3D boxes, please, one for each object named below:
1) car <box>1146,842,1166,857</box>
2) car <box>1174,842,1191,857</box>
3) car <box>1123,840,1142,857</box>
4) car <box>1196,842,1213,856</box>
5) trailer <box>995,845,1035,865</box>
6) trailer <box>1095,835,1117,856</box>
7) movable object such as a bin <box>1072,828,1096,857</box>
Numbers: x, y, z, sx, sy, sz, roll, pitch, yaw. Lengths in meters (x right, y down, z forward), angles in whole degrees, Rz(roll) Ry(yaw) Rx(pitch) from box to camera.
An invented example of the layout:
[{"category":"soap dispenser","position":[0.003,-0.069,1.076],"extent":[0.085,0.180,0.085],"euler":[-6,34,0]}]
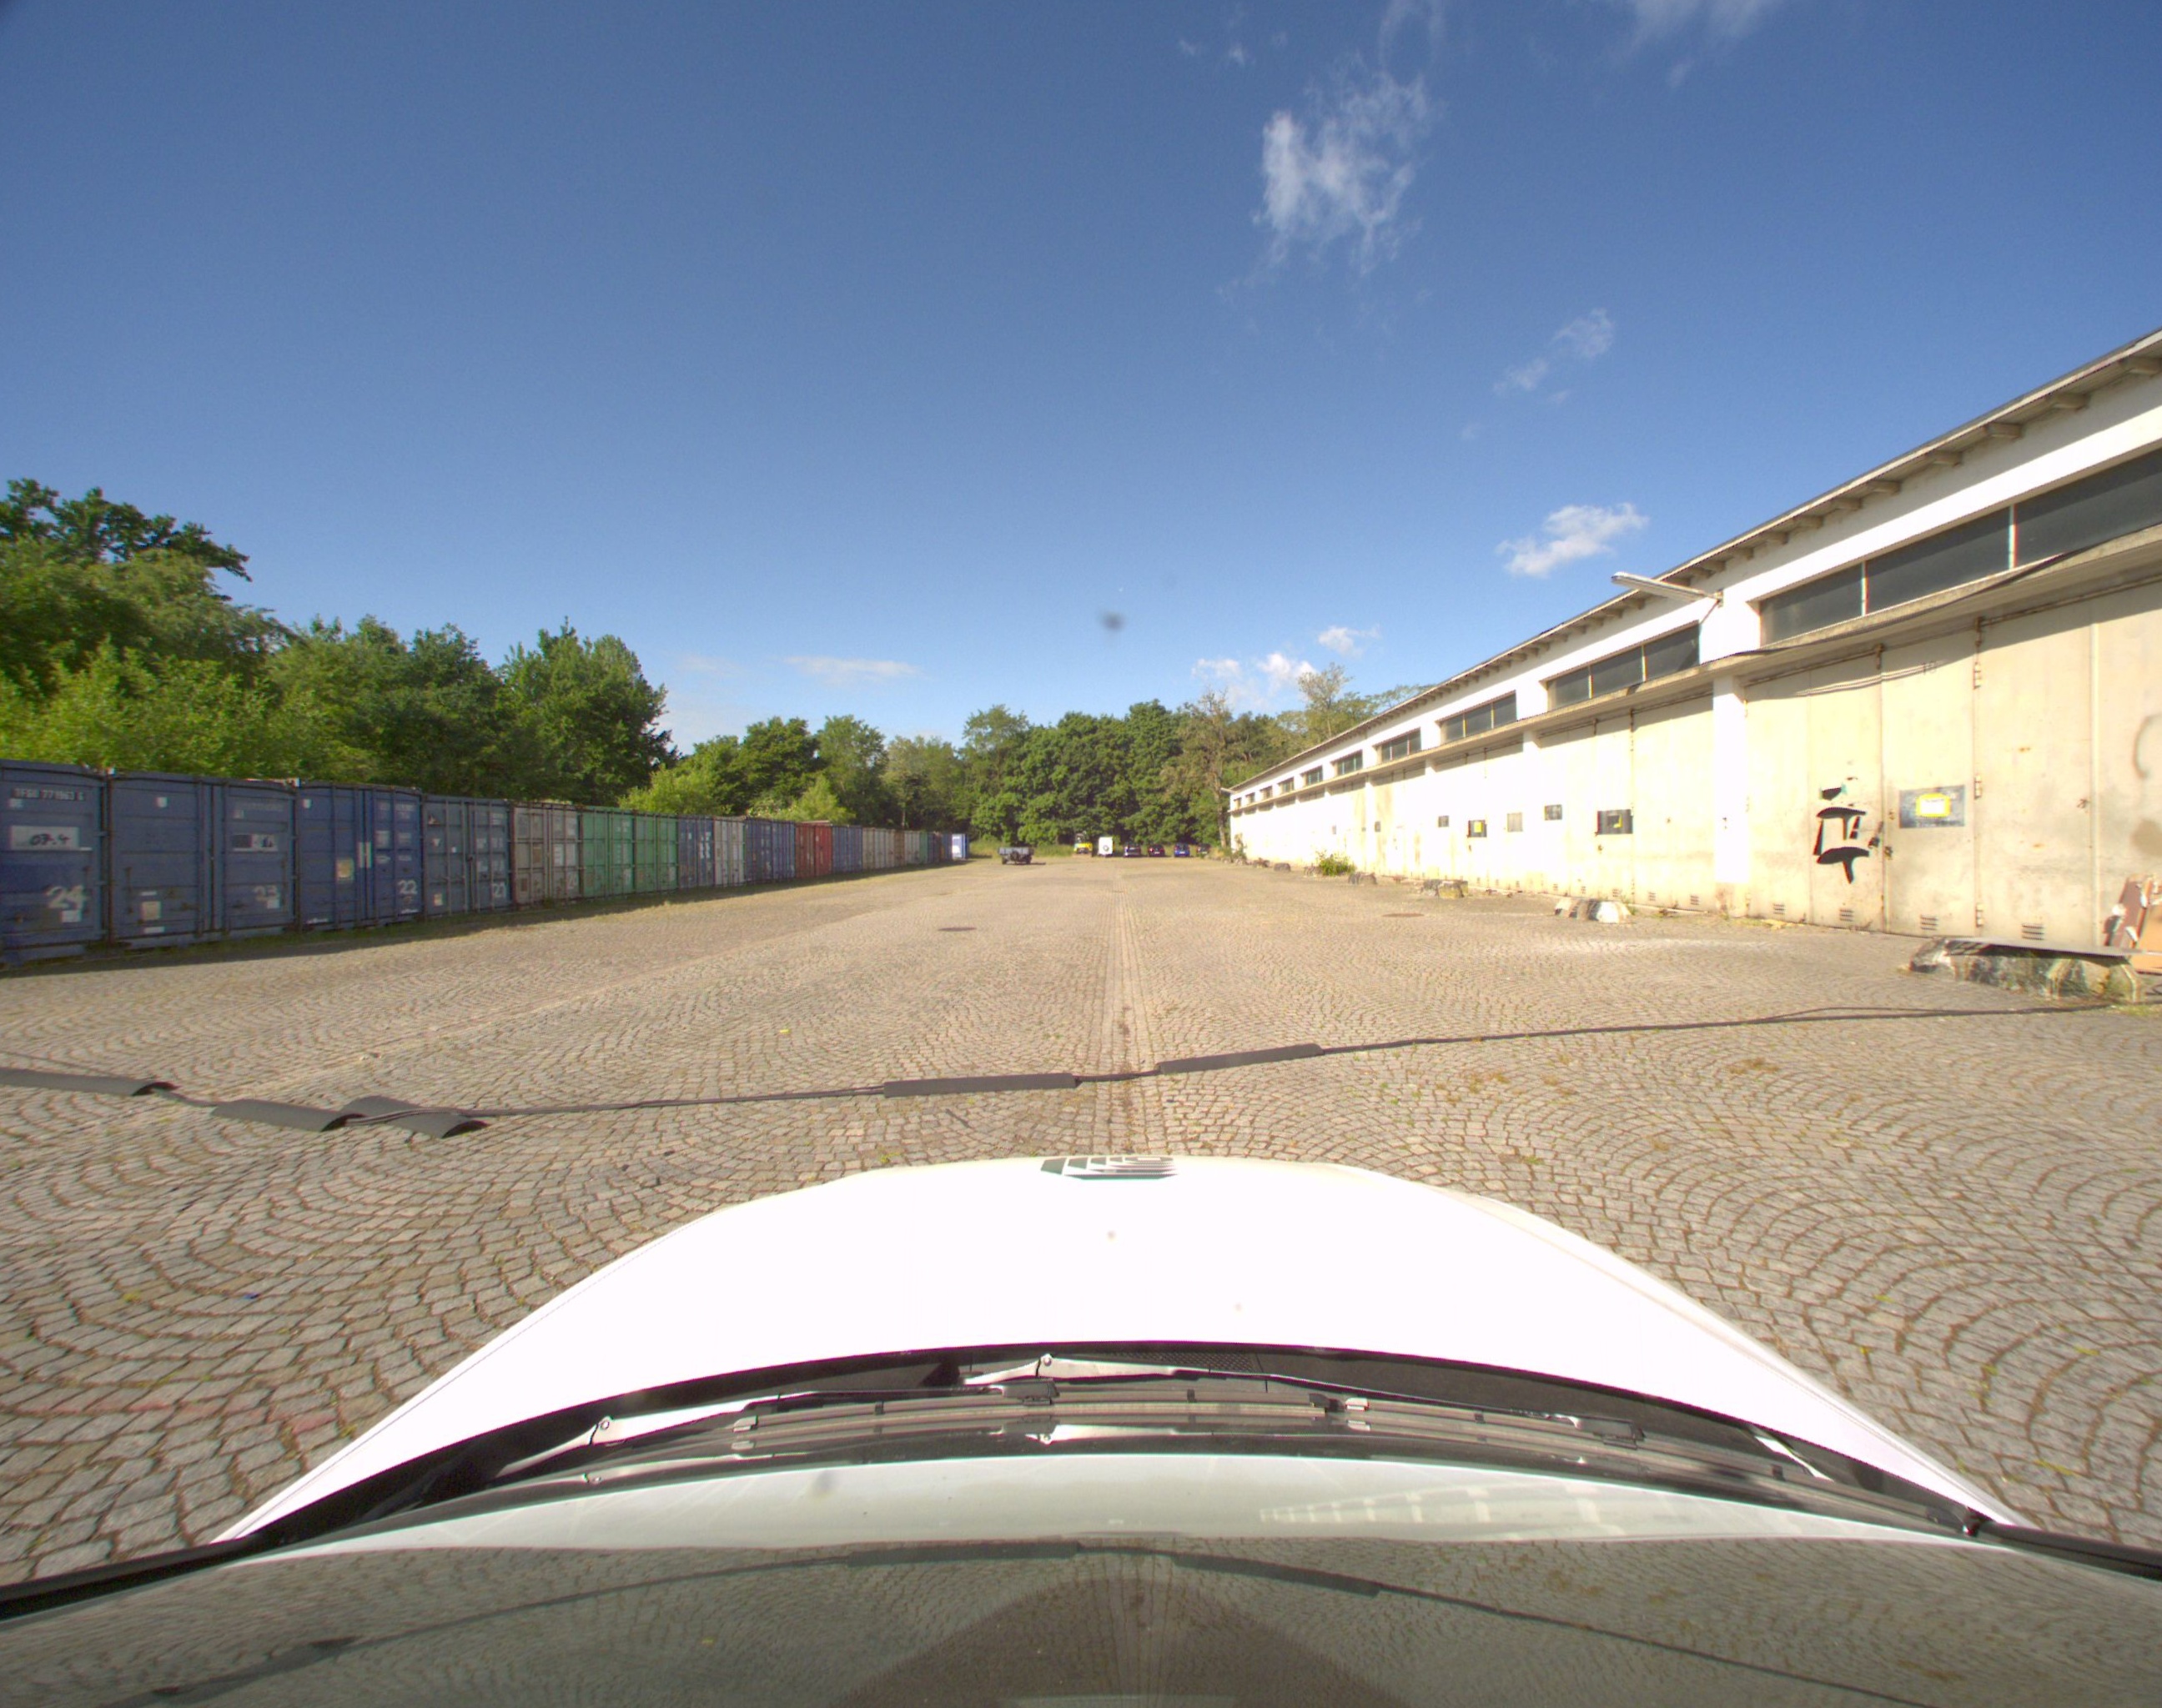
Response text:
[{"category":"car","position":[7.788,-0.514,84.668],"extent":[1.856,1.470,4.299],"euler":[1,2,2]},{"category":"car","position":[10.542,-0.496,84.522],"extent":[1.734,1.436,4.192],"euler":[1,2,7]},{"category":"car","position":[5.292,-0.575,84.376],"extent":[1.856,1.589,4.299],"euler":[1,2,2]},{"category":"car","position":[13.045,-0.544,85.855],"extent":[1.734,1.436,4.194],"euler":[1,2,9]},{"category":"trailer","position":[-5.344,0.057,66.977],"extent":[2.696,1.465,6.249],"euler":[1,1,1]},{"category":"trailer","position":[2.697,-0.913,86.834],"extent":[2.184,2.094,5.755],"euler":[1,2,2]},{"category":"movable object such as a bin","position":[0.349,-1.289,87.497],"extent":[2.296,2.896,5.757],"euler":[1,2,3]}]
